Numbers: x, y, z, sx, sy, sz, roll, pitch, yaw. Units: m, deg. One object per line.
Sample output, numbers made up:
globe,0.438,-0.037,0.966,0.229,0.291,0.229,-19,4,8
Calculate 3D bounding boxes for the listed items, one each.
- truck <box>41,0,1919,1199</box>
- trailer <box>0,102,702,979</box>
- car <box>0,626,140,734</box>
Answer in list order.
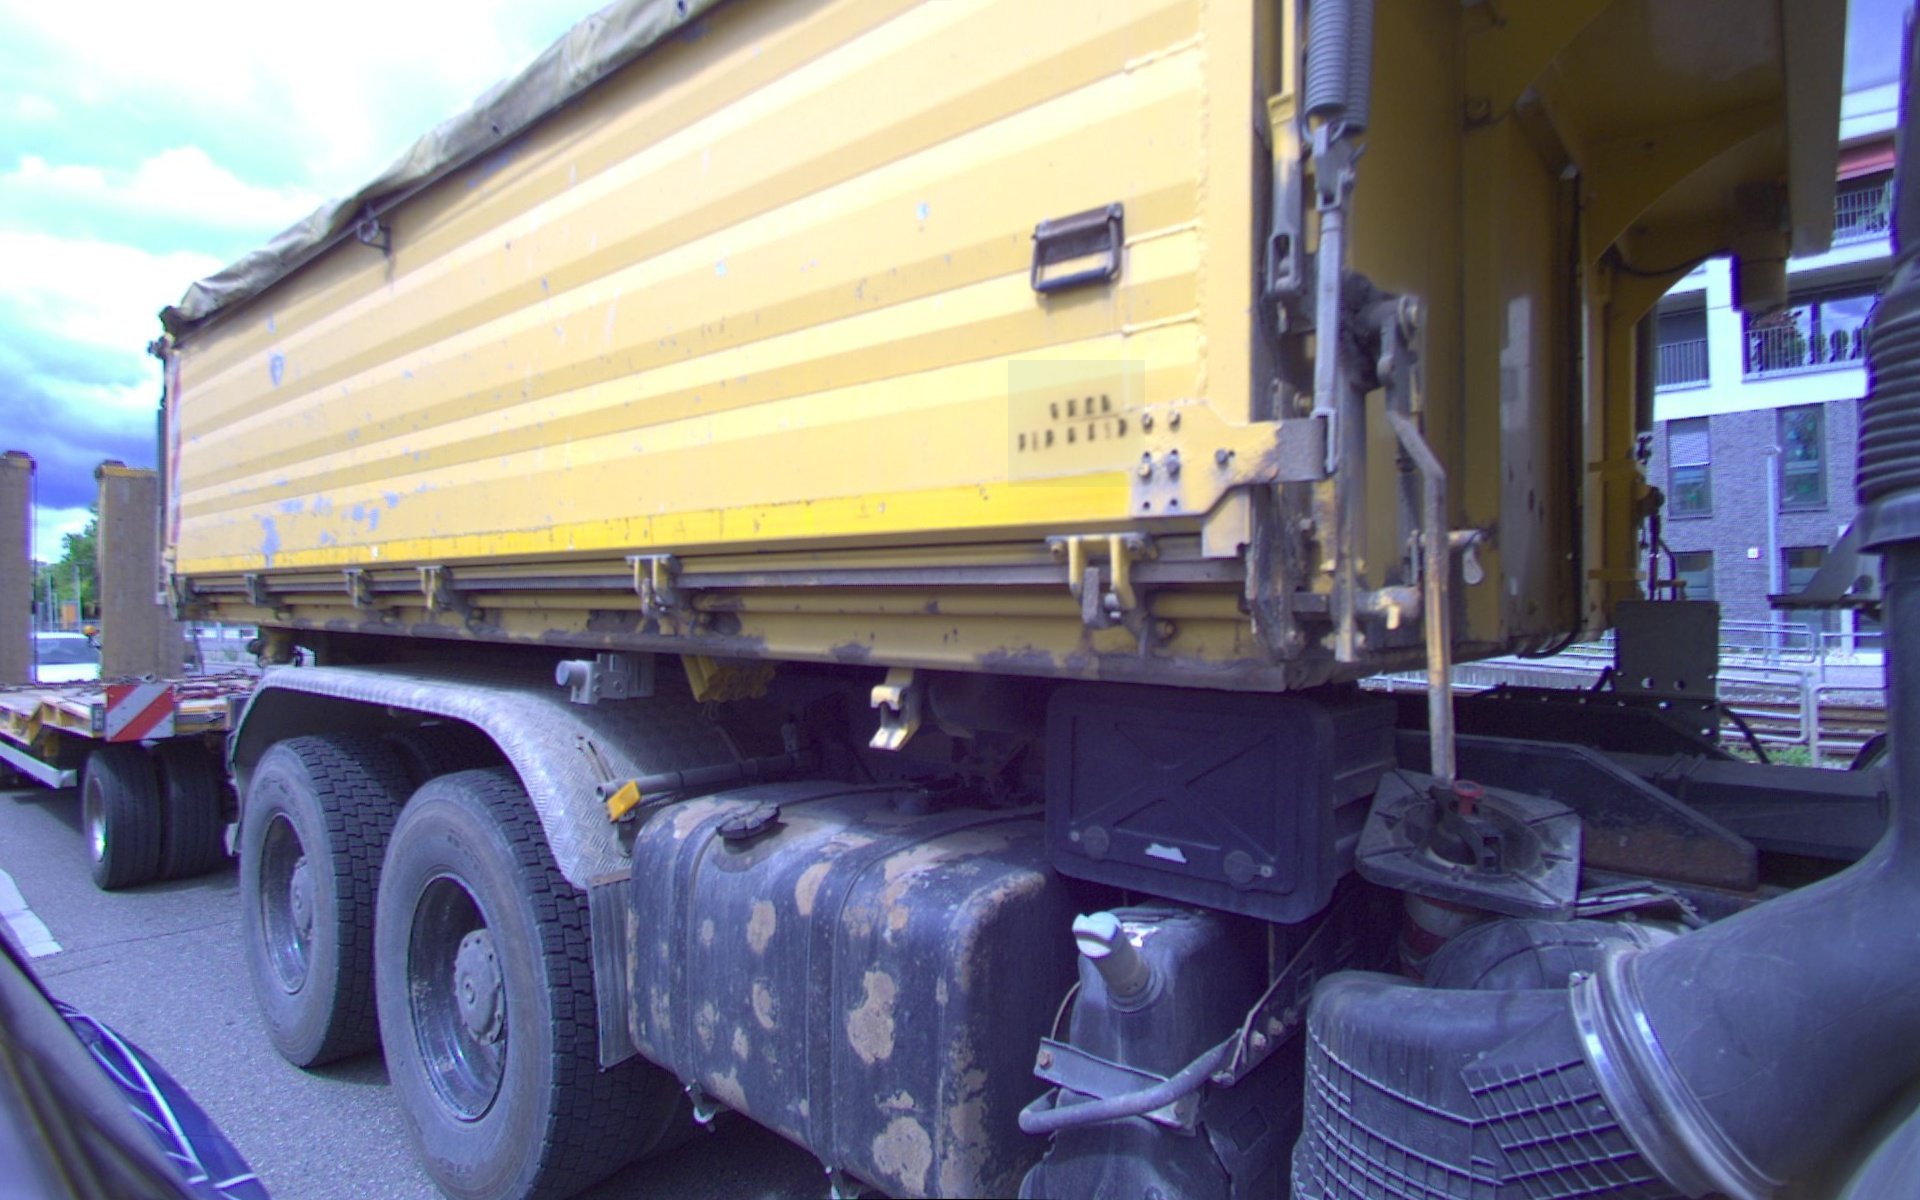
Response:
truck,0.216,-0.222,2.779,7.999,3.420,3.019,-2,-1,40
trailer,-6.857,-0.134,9.007,10.957,3.726,3.018,-2,-1,40
car,-13.983,1.138,15.375,3.784,1.427,1.761,-2,-1,41
